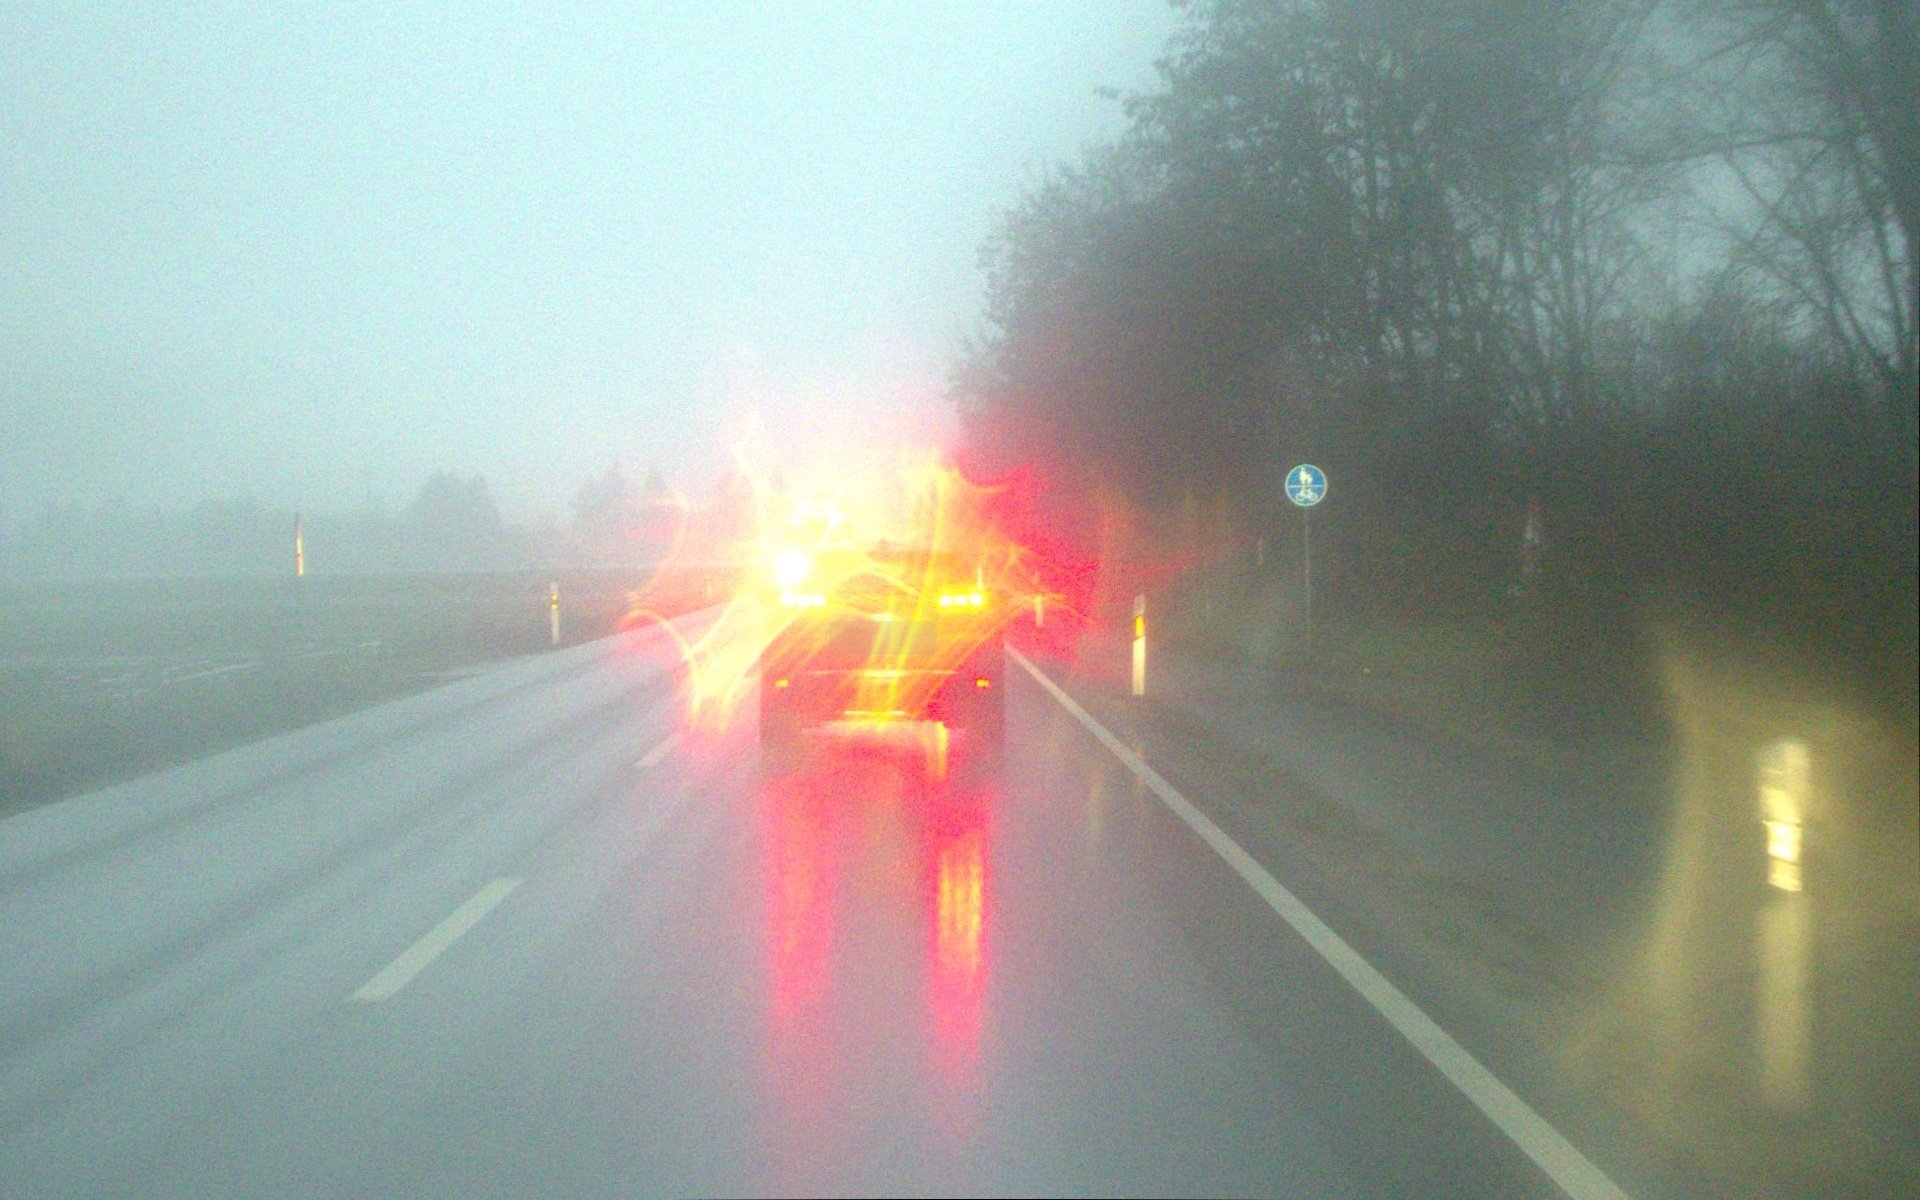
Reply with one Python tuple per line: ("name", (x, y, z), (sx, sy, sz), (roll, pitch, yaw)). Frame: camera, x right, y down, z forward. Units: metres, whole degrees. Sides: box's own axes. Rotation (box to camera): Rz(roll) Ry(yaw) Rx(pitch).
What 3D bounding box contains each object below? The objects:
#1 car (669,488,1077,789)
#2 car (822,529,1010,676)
("car", (-0.623, 0.235, 26.759), (2.820, 2.070, 5.804), (0, 1, 0))
("car", (-0.630, 0.000, 50.402), (2.592, 2.007, 5.804), (0, 1, 0))
